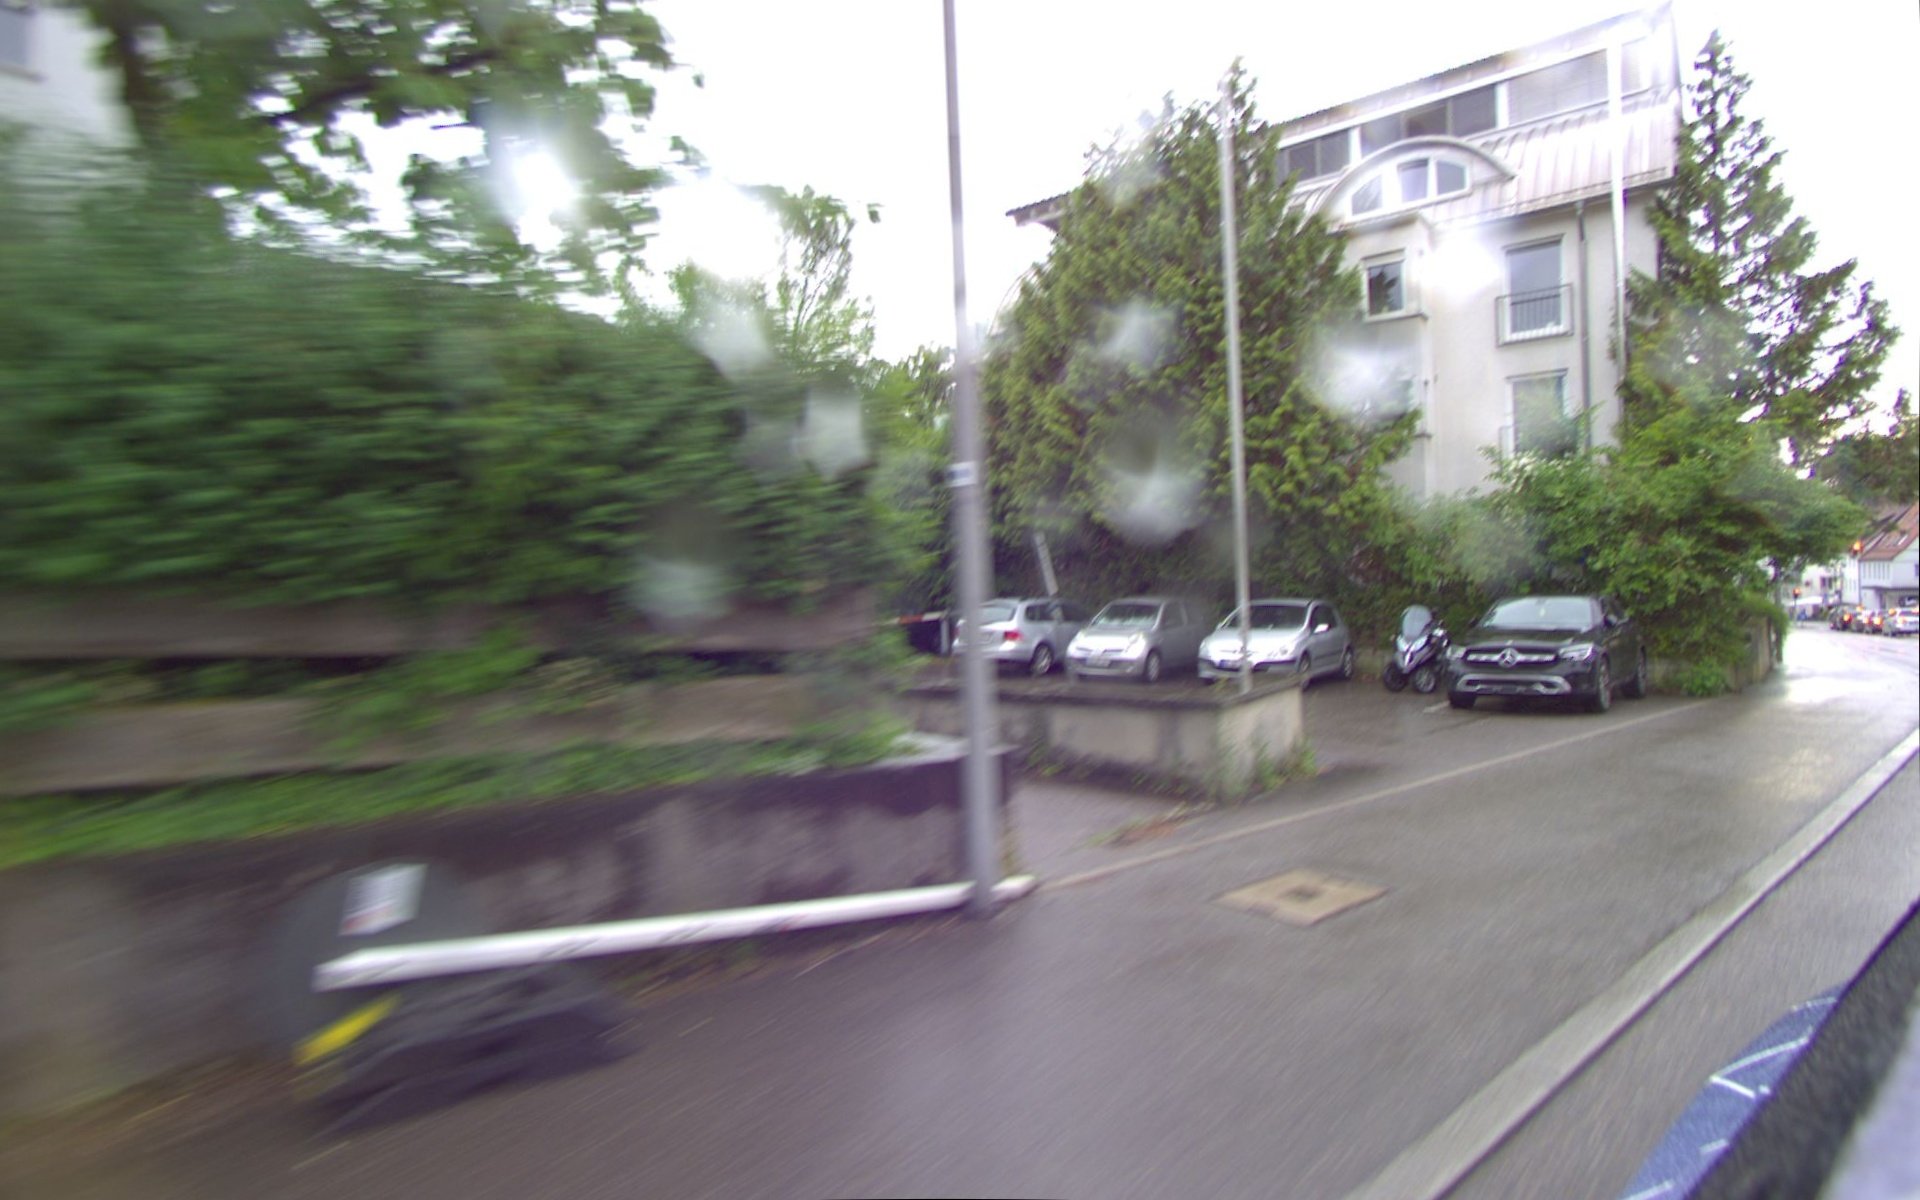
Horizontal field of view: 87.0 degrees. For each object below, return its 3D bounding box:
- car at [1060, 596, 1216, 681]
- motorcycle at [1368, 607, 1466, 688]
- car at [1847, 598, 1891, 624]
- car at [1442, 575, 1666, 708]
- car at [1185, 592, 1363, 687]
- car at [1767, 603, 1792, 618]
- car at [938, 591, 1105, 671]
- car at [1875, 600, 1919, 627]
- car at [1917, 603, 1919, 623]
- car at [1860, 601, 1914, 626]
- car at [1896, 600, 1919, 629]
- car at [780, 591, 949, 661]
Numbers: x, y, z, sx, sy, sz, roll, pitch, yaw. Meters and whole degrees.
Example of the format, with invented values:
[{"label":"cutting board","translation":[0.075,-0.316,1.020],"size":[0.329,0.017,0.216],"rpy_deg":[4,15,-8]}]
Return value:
[{"label":"car","translation":[3.415,0.657,19.065],"size":[1.603,1.453,3.275],"rpy_deg":[0,0,37]},{"label":"motorcycle","translation":[7.489,0.724,16.499],"size":[0.850,1.192,2.458],"rpy_deg":[-1,0,39]},{"label":"car","translation":[61.726,0.732,68.786],"size":[1.844,1.685,4.161],"rpy_deg":[-2,-1,38]},{"label":"car","translation":[8.596,0.535,14.440],"size":[1.779,1.590,4.655],"rpy_deg":[-4,-2,42]},{"label":"car","translation":[5.588,0.608,17.707],"size":[1.734,1.453,3.970],"rpy_deg":[0,0,37]},{"label":"car","translation":[89.524,1.107,110.559],"size":[1.715,1.567,3.952],"rpy_deg":[-2,-1,33]},{"label":"car","translation":[1.285,0.565,20.284],"size":[1.757,1.453,3.271],"rpy_deg":[0,0,41]},{"label":"car","translation":[54.059,0.778,58.144],"size":[1.794,1.458,4.625],"rpy_deg":[-2,-1,37]},{"label":"car","translation":[64.318,0.832,66.371],"size":[1.733,1.372,4.005],"rpy_deg":[-2,-1,37]},{"label":"car","translation":[57.568,0.821,62.931],"size":[1.935,1.459,4.949],"rpy_deg":[-2,-1,37]},{"label":"car","translation":[49.268,0.731,51.677],"size":[1.796,1.458,4.622],"rpy_deg":[-2,-1,39]},{"label":"car","translation":[-2.098,0.546,23.055],"size":[1.757,1.453,3.664],"rpy_deg":[0,0,41]}]
